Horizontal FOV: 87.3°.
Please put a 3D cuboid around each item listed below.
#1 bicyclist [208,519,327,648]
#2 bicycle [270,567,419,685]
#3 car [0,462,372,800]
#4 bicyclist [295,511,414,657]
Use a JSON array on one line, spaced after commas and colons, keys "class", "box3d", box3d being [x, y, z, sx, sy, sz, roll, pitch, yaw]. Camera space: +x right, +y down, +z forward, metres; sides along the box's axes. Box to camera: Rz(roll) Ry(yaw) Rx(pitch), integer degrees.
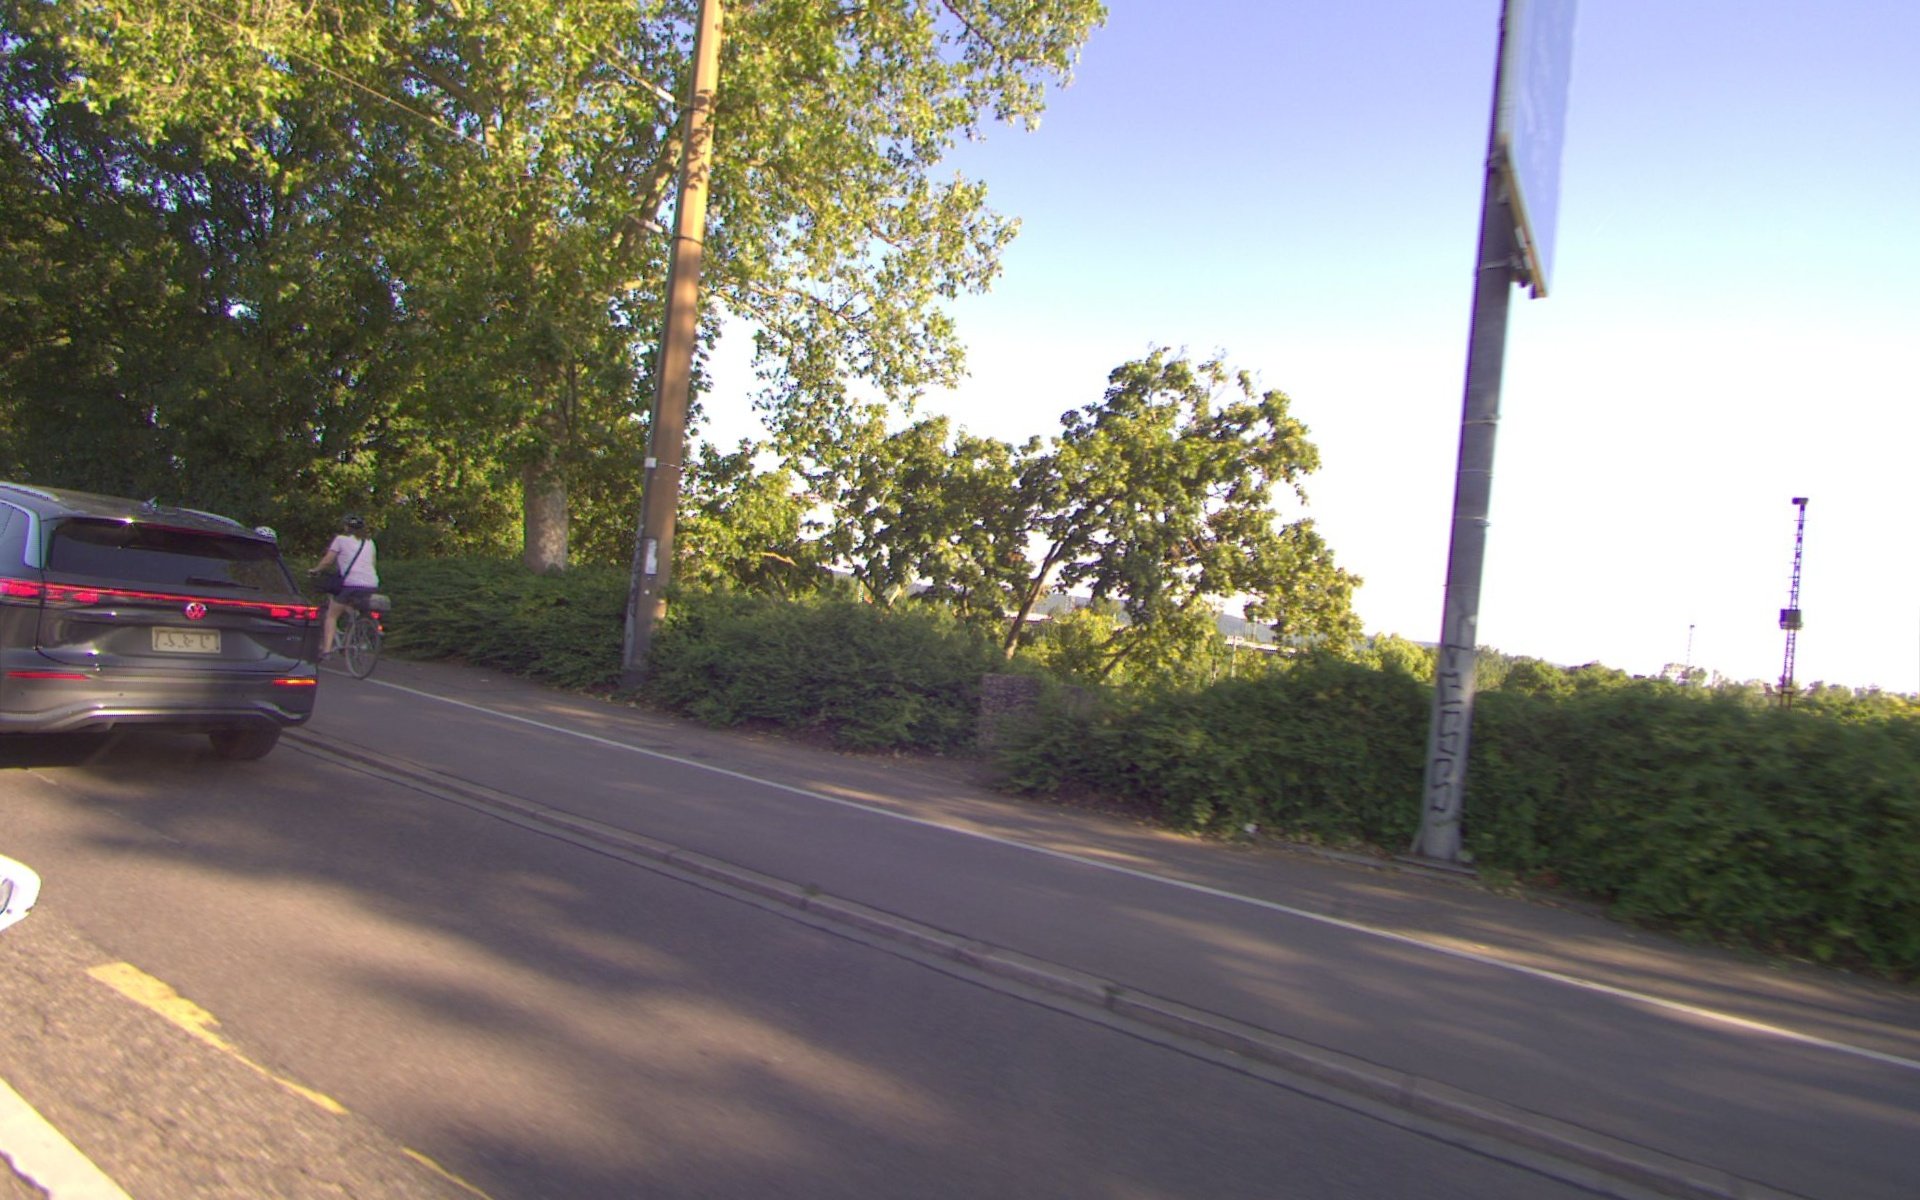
[{"class": "bicyclist", "box3d": [-7.357, -0.172, 10.692, 0.876, 1.241, 0.642, 7, 1, 31]}, {"class": "bicycle", "box3d": [-7.085, 0.281, 11.561, 1.783, 1.134, 0.623, 7, 1, 31]}, {"class": "car", "box3d": [-6.239, 0.054, 6.835, 4.365, 1.680, 1.849, 6, -2, 31]}, {"class": "bicyclist", "box3d": [-6.883, -0.177, 11.445, 0.876, 1.527, 0.687, 7, 0, 31]}]
